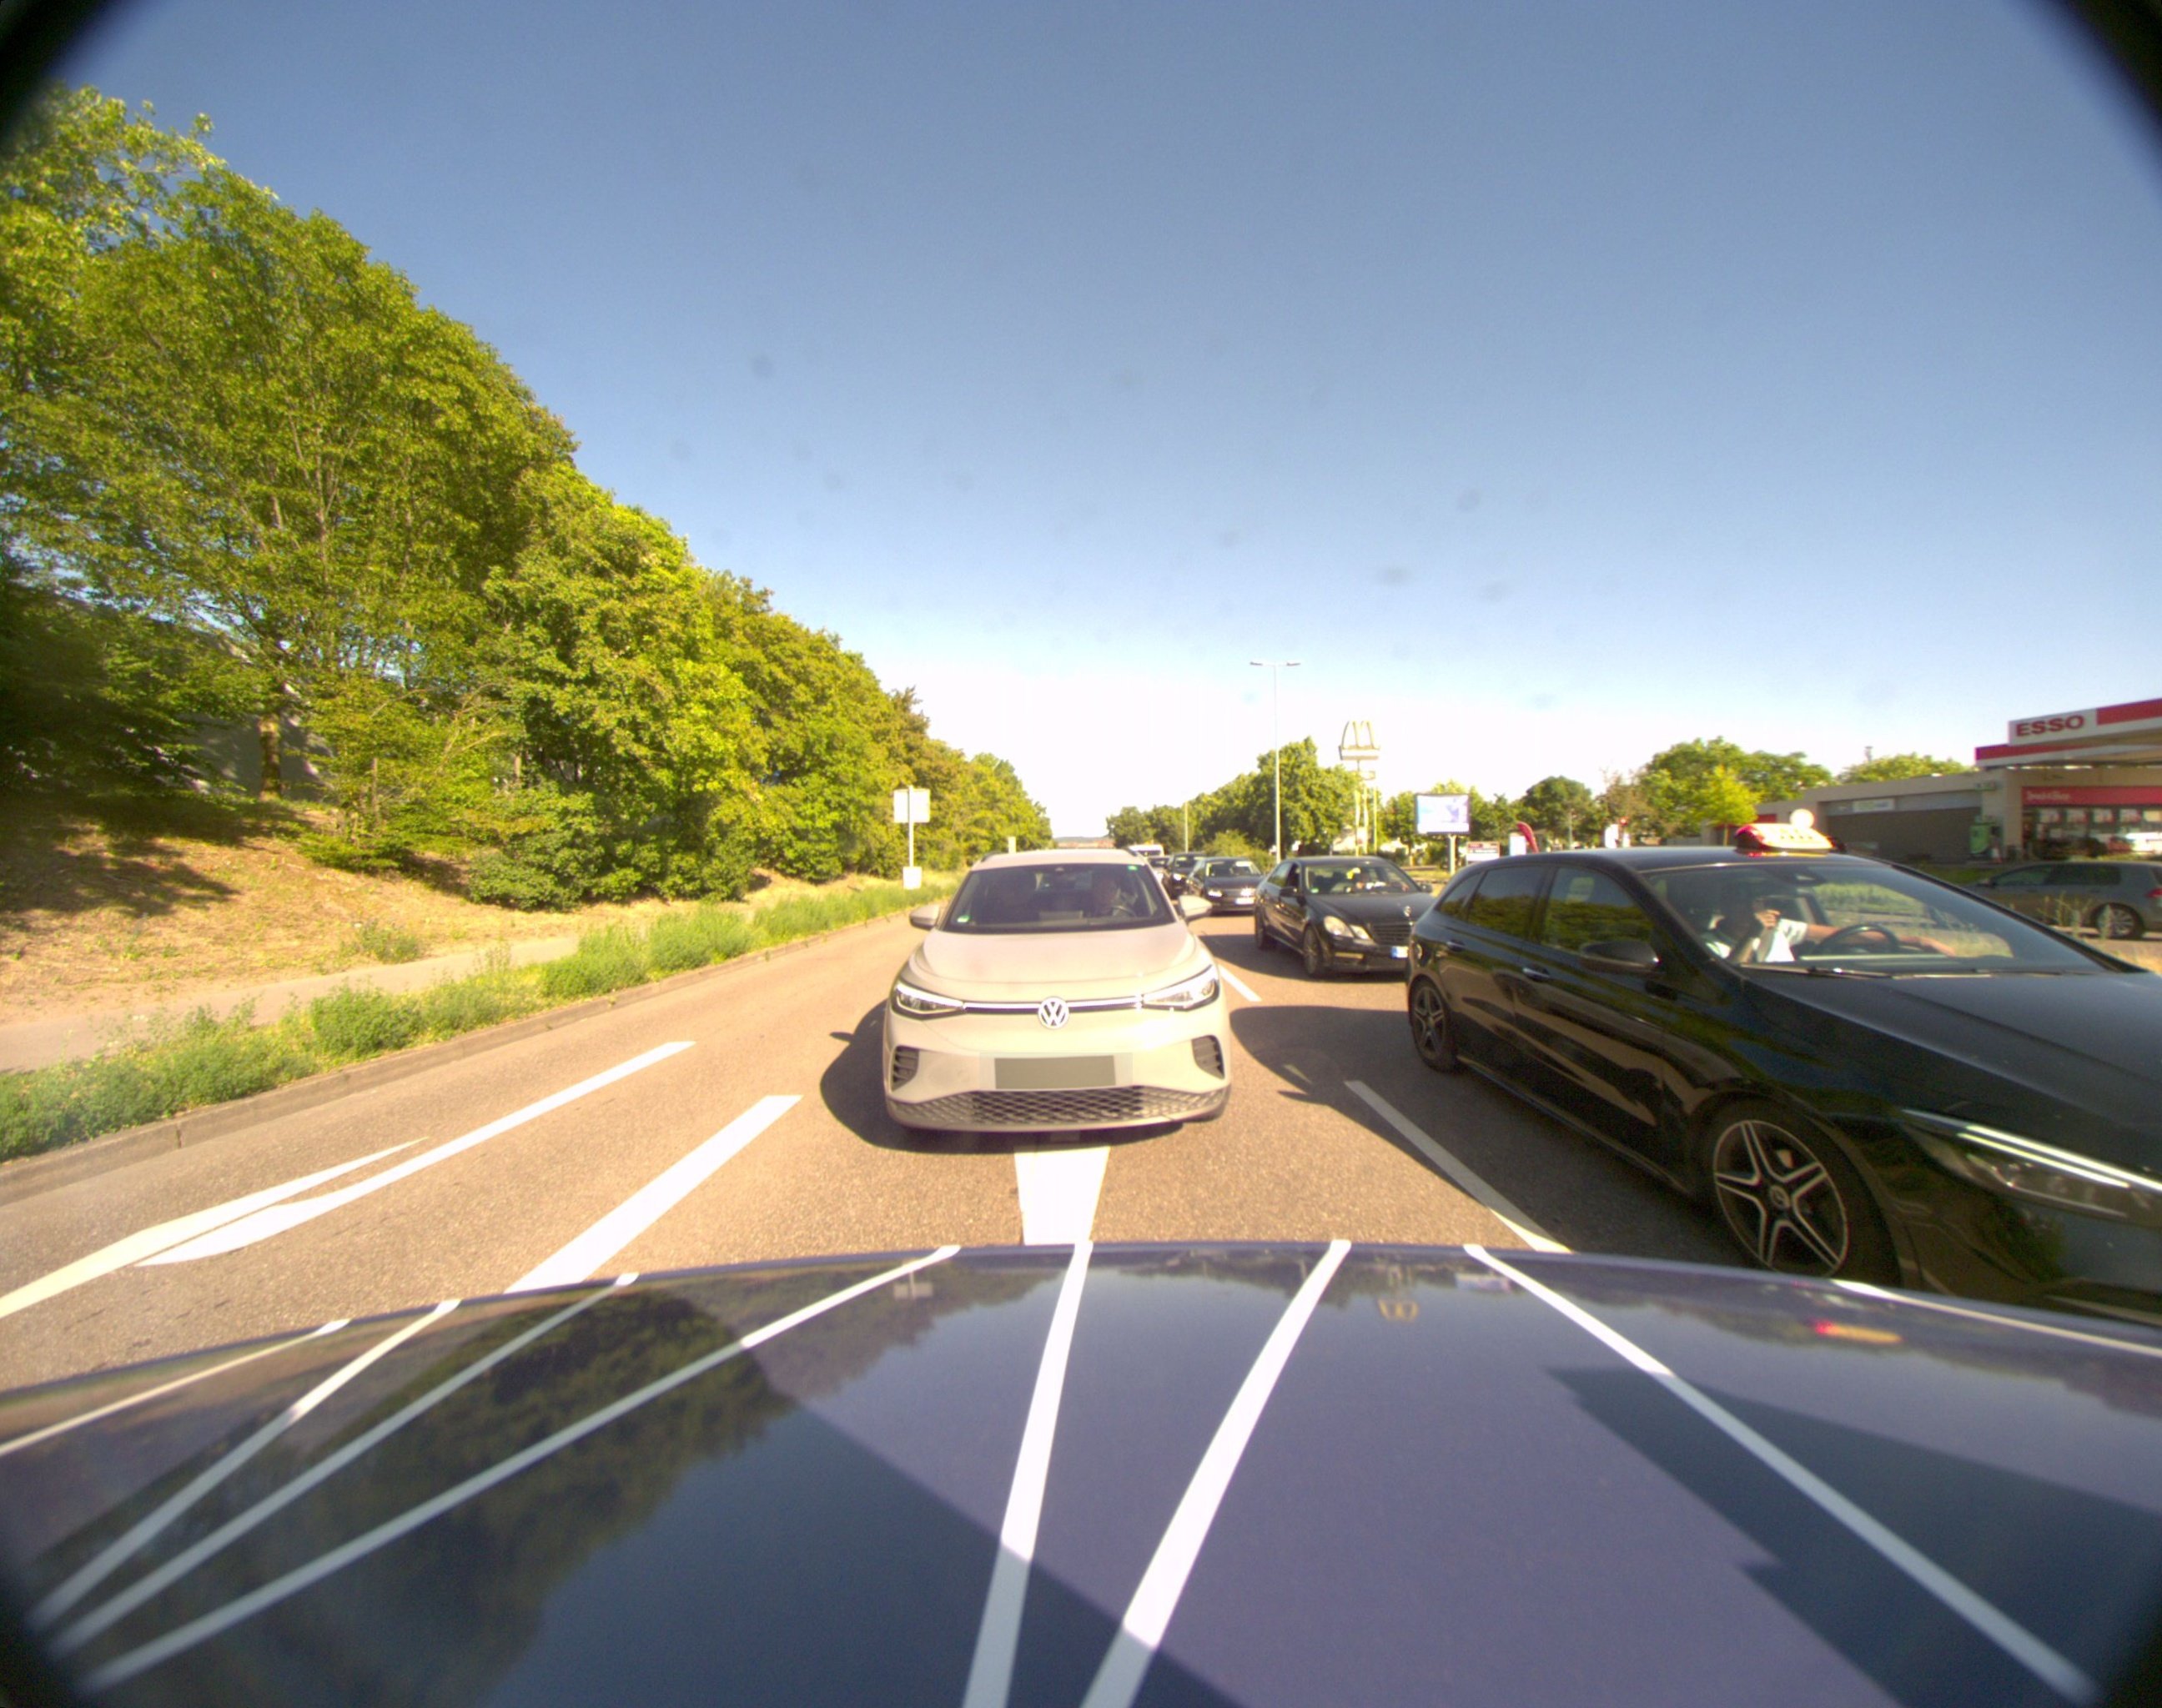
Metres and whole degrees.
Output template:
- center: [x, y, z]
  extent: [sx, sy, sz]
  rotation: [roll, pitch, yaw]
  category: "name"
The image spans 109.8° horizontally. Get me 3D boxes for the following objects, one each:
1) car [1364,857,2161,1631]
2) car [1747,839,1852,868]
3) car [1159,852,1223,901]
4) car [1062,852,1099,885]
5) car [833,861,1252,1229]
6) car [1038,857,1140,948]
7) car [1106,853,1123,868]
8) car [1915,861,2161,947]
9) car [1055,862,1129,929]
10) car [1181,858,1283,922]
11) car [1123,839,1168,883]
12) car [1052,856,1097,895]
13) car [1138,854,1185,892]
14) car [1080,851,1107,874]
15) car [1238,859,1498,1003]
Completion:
- center: [3.091, 0.819, 3.645]
  extent: [1.763, 1.482, 4.402]
  rotation: [-2, 1, 0]
  category: "car"
- center: [37.421, -0.060, 39.711]
  extent: [1.682, 1.401, 3.978]
  rotation: [1, 1, 0]
  category: "car"
- center: [3.904, 0.759, 27.563]
  extent: [1.674, 1.607, 3.879]
  rotation: [-2, 0, 0]
  category: "car"
- center: [-0.043, 0.715, 39.847]
  extent: [1.763, 1.482, 4.402]
  rotation: [-2, 1, 0]
  category: "car"
- center: [-0.181, 0.901, 5.694]
  extent: [1.862, 1.573, 4.403]
  rotation: [-2, 0, 0]
  category: "car"
- center: [0.135, 0.874, 15.751]
  extent: [1.763, 1.482, 4.402]
  rotation: [-2, 1, 0]
  category: "car"
- center: [3.911, 0.790, 90.200]
  extent: [1.763, 1.607, 4.402]
  rotation: [-2, 1, 0]
  category: "car"
- center: [19.394, 0.898, 14.851]
  extent: [1.763, 1.401, 3.978]
  rotation: [1, 1, 0]
  category: "car"
- center: [0.265, 1.041, 20.919]
  extent: [1.763, 1.482, 4.402]
  rotation: [-2, 1, 0]
  category: "car"
- center: [3.873, 0.862, 20.208]
  extent: [1.797, 1.419, 4.287]
  rotation: [-2, 0, 0]
  category: "car"
- center: [3.684, 0.382, 44.599]
  extent: [2.019, 2.349, 6.523]
  rotation: [-2, 0, 0]
  category: "car"
- center: [-0.257, 0.884, 33.025]
  extent: [1.763, 1.482, 4.402]
  rotation: [-2, 1, 0]
  category: "car"
- center: [3.573, 0.793, 34.157]
  extent: [1.635, 1.547, 3.777]
  rotation: [-2, 0, 0]
  category: "car"
- center: [0.877, 0.595, 54.850]
  extent: [1.763, 1.482, 4.402]
  rotation: [-2, 1, 0]
  category: "car"
- center: [3.589, 0.852, 10.491]
  extent: [1.868, 1.430, 4.402]
  rotation: [-2, 1, 0]
  category: "car"
